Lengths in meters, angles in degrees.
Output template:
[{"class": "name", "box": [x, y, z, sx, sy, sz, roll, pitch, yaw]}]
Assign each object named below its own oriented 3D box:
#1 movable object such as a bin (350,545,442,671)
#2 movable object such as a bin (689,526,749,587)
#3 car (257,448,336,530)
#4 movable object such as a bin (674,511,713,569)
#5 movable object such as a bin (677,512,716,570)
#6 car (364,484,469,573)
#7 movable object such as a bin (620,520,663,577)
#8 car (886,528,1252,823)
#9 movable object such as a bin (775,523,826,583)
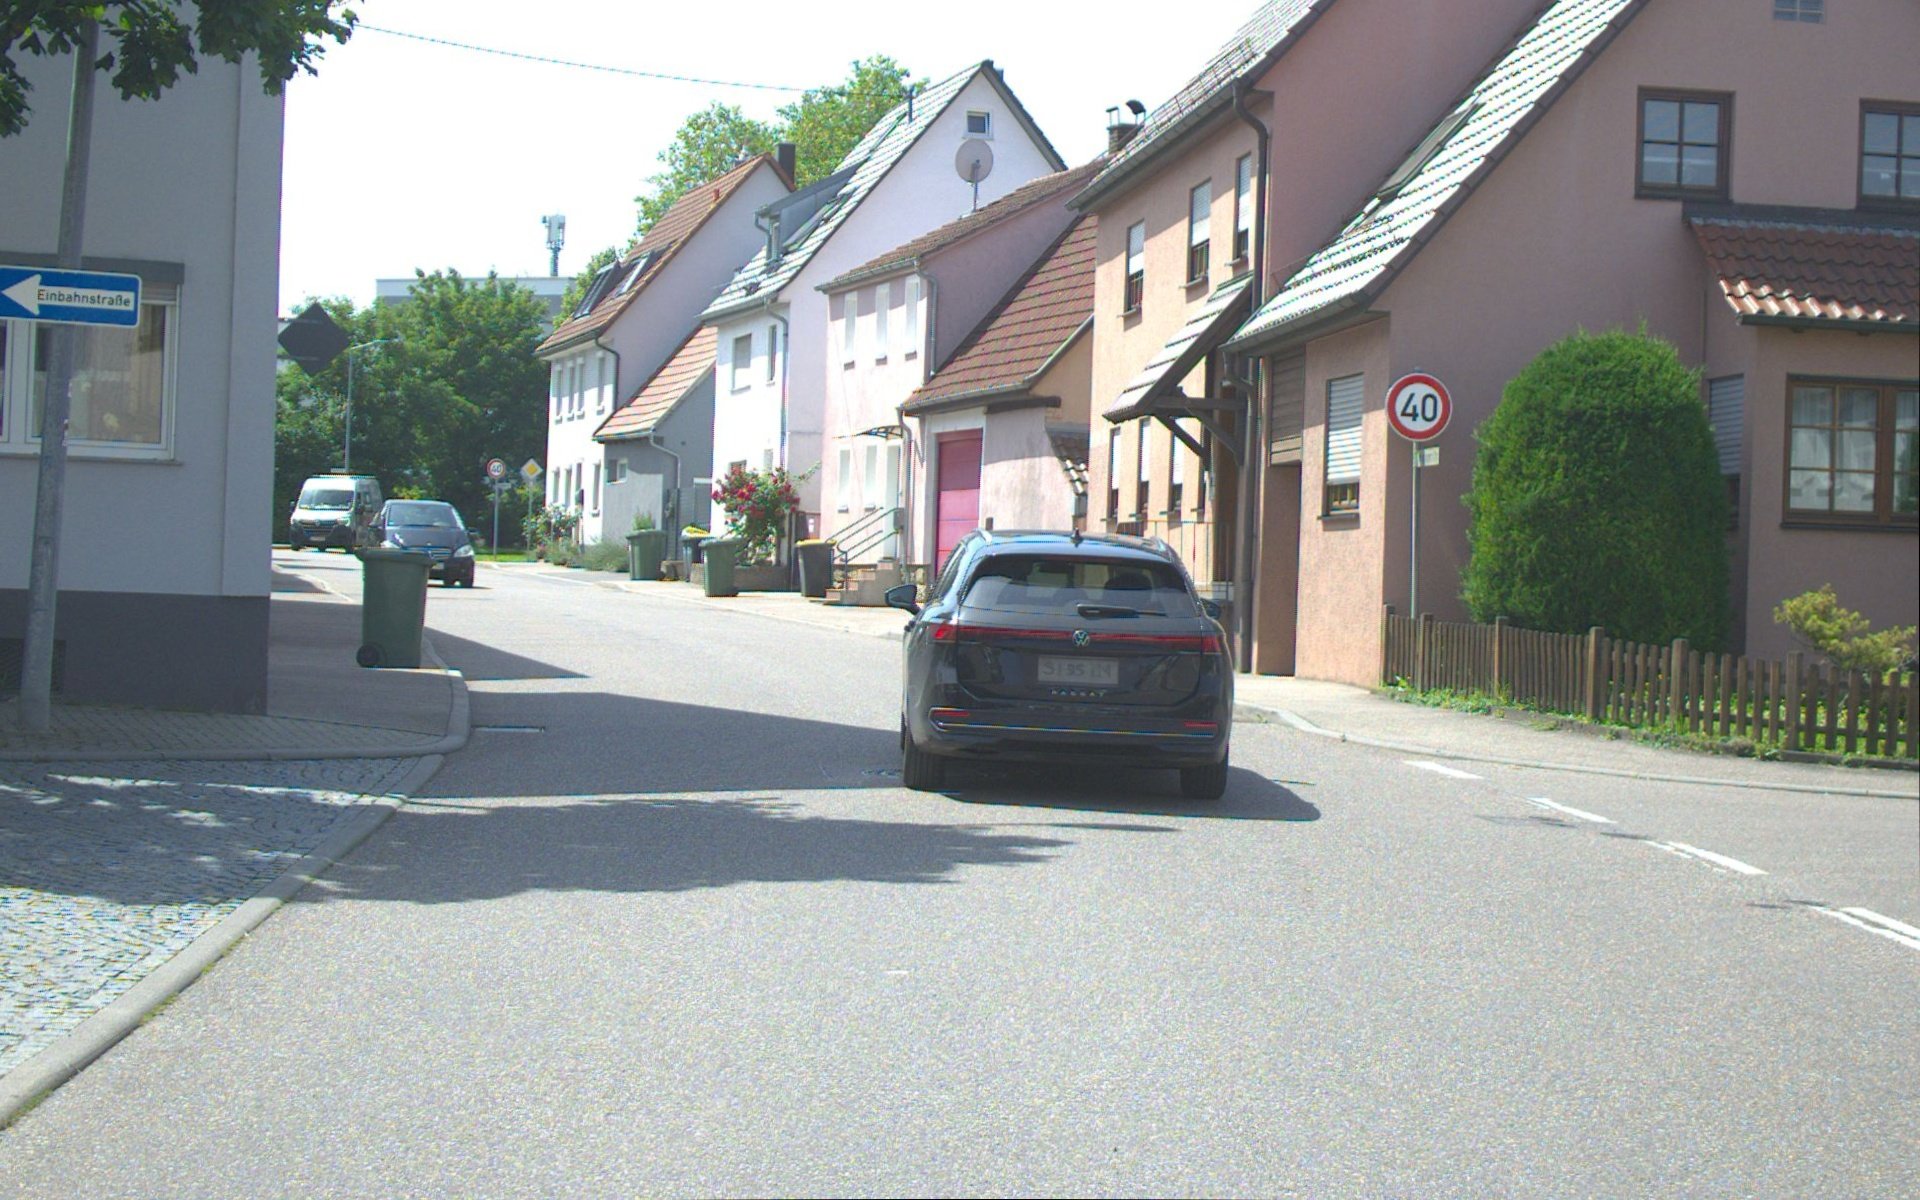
[{"class": "movable object such as a bin", "box": [-4.988, 0.063, 30.423, 0.753, 1.056, 0.680, 3, 2, -8]}, {"class": "movable object such as a bin", "box": [-4.448, -0.807, 63.406, 0.875, 1.071, 0.873, -2, 3, -19]}, {"class": "car", "box": [-21.655, -3.631, 112.390, 2.114, 2.554, 5.829, 2, 2, -7]}, {"class": "movable object such as a bin", "box": [-5.631, -1.268, 72.648, 0.664, 1.190, 0.660, 2, 1, -15]}, {"class": "movable object such as a bin", "box": [-5.500, -1.237, 71.849, 0.664, 1.190, 0.588, 2, 1, -15]}, {"class": "car", "box": [-10.159, -1.358, 64.089, 1.799, 1.550, 4.072, 1, 2, -10]}, {"class": "movable object such as a bin", "box": [-6.720, -1.093, 72.576, 0.678, 1.151, 0.820, 3, 1, -19]}, {"class": "car", "box": [0.517, 0.348, 20.220, 1.841, 1.415, 4.683, 1, 2, -2]}, {"class": "movable object such as a bin", "box": [-2.920, -0.861, 62.913, 0.678, 1.046, 0.835, -2, 3, -19]}]
